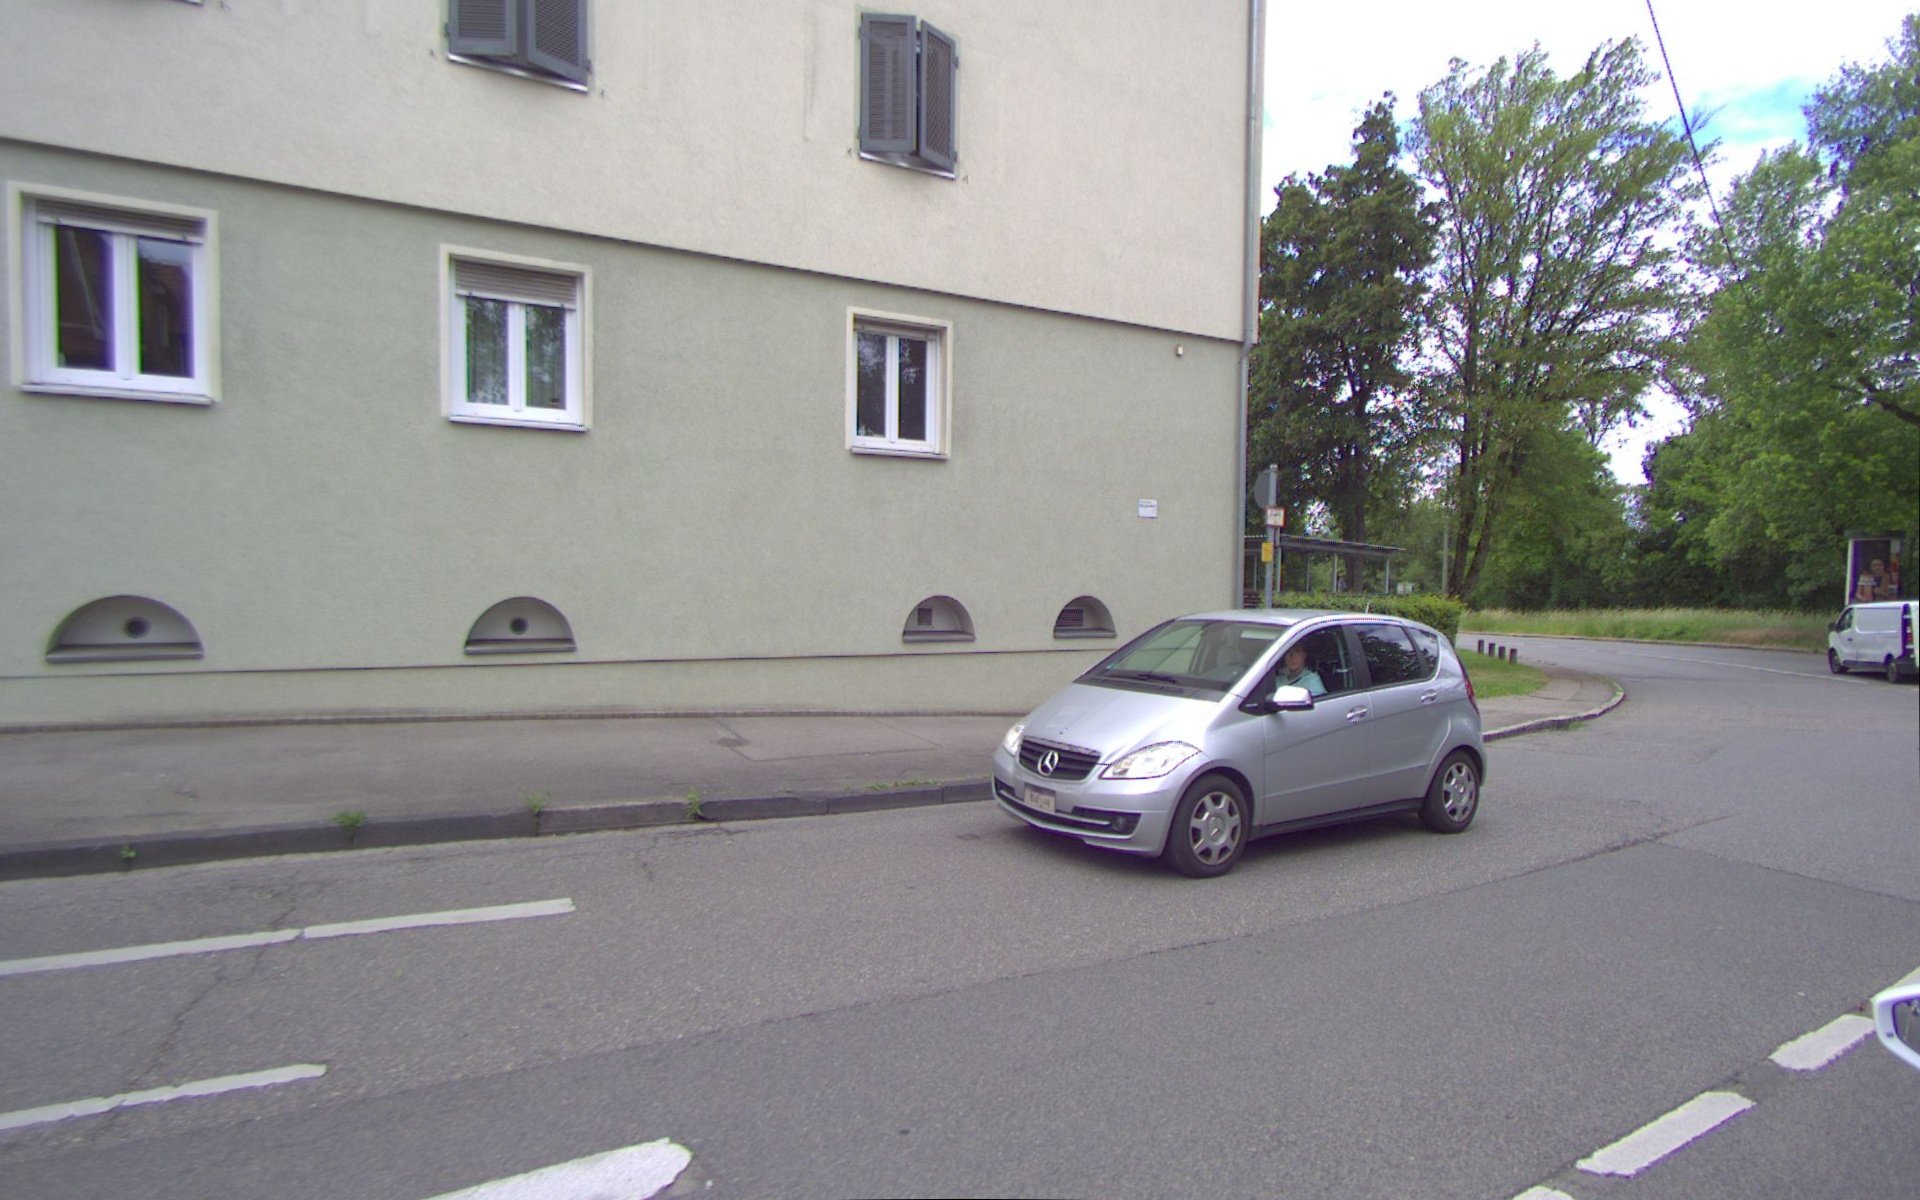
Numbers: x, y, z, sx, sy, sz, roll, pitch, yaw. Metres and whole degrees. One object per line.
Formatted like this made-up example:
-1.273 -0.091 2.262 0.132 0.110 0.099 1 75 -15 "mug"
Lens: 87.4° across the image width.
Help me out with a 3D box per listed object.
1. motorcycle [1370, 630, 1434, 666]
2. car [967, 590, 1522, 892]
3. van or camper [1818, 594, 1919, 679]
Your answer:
15.269 1.656 34.687 2.037 1.167 0.860 1 0 -23 "motorcycle"
2.149 0.776 7.224 3.934 1.626 1.712 0 0 -34 "car"
23.958 0.852 25.473 1.987 1.983 4.892 -1 -1 24 "van or camper"
